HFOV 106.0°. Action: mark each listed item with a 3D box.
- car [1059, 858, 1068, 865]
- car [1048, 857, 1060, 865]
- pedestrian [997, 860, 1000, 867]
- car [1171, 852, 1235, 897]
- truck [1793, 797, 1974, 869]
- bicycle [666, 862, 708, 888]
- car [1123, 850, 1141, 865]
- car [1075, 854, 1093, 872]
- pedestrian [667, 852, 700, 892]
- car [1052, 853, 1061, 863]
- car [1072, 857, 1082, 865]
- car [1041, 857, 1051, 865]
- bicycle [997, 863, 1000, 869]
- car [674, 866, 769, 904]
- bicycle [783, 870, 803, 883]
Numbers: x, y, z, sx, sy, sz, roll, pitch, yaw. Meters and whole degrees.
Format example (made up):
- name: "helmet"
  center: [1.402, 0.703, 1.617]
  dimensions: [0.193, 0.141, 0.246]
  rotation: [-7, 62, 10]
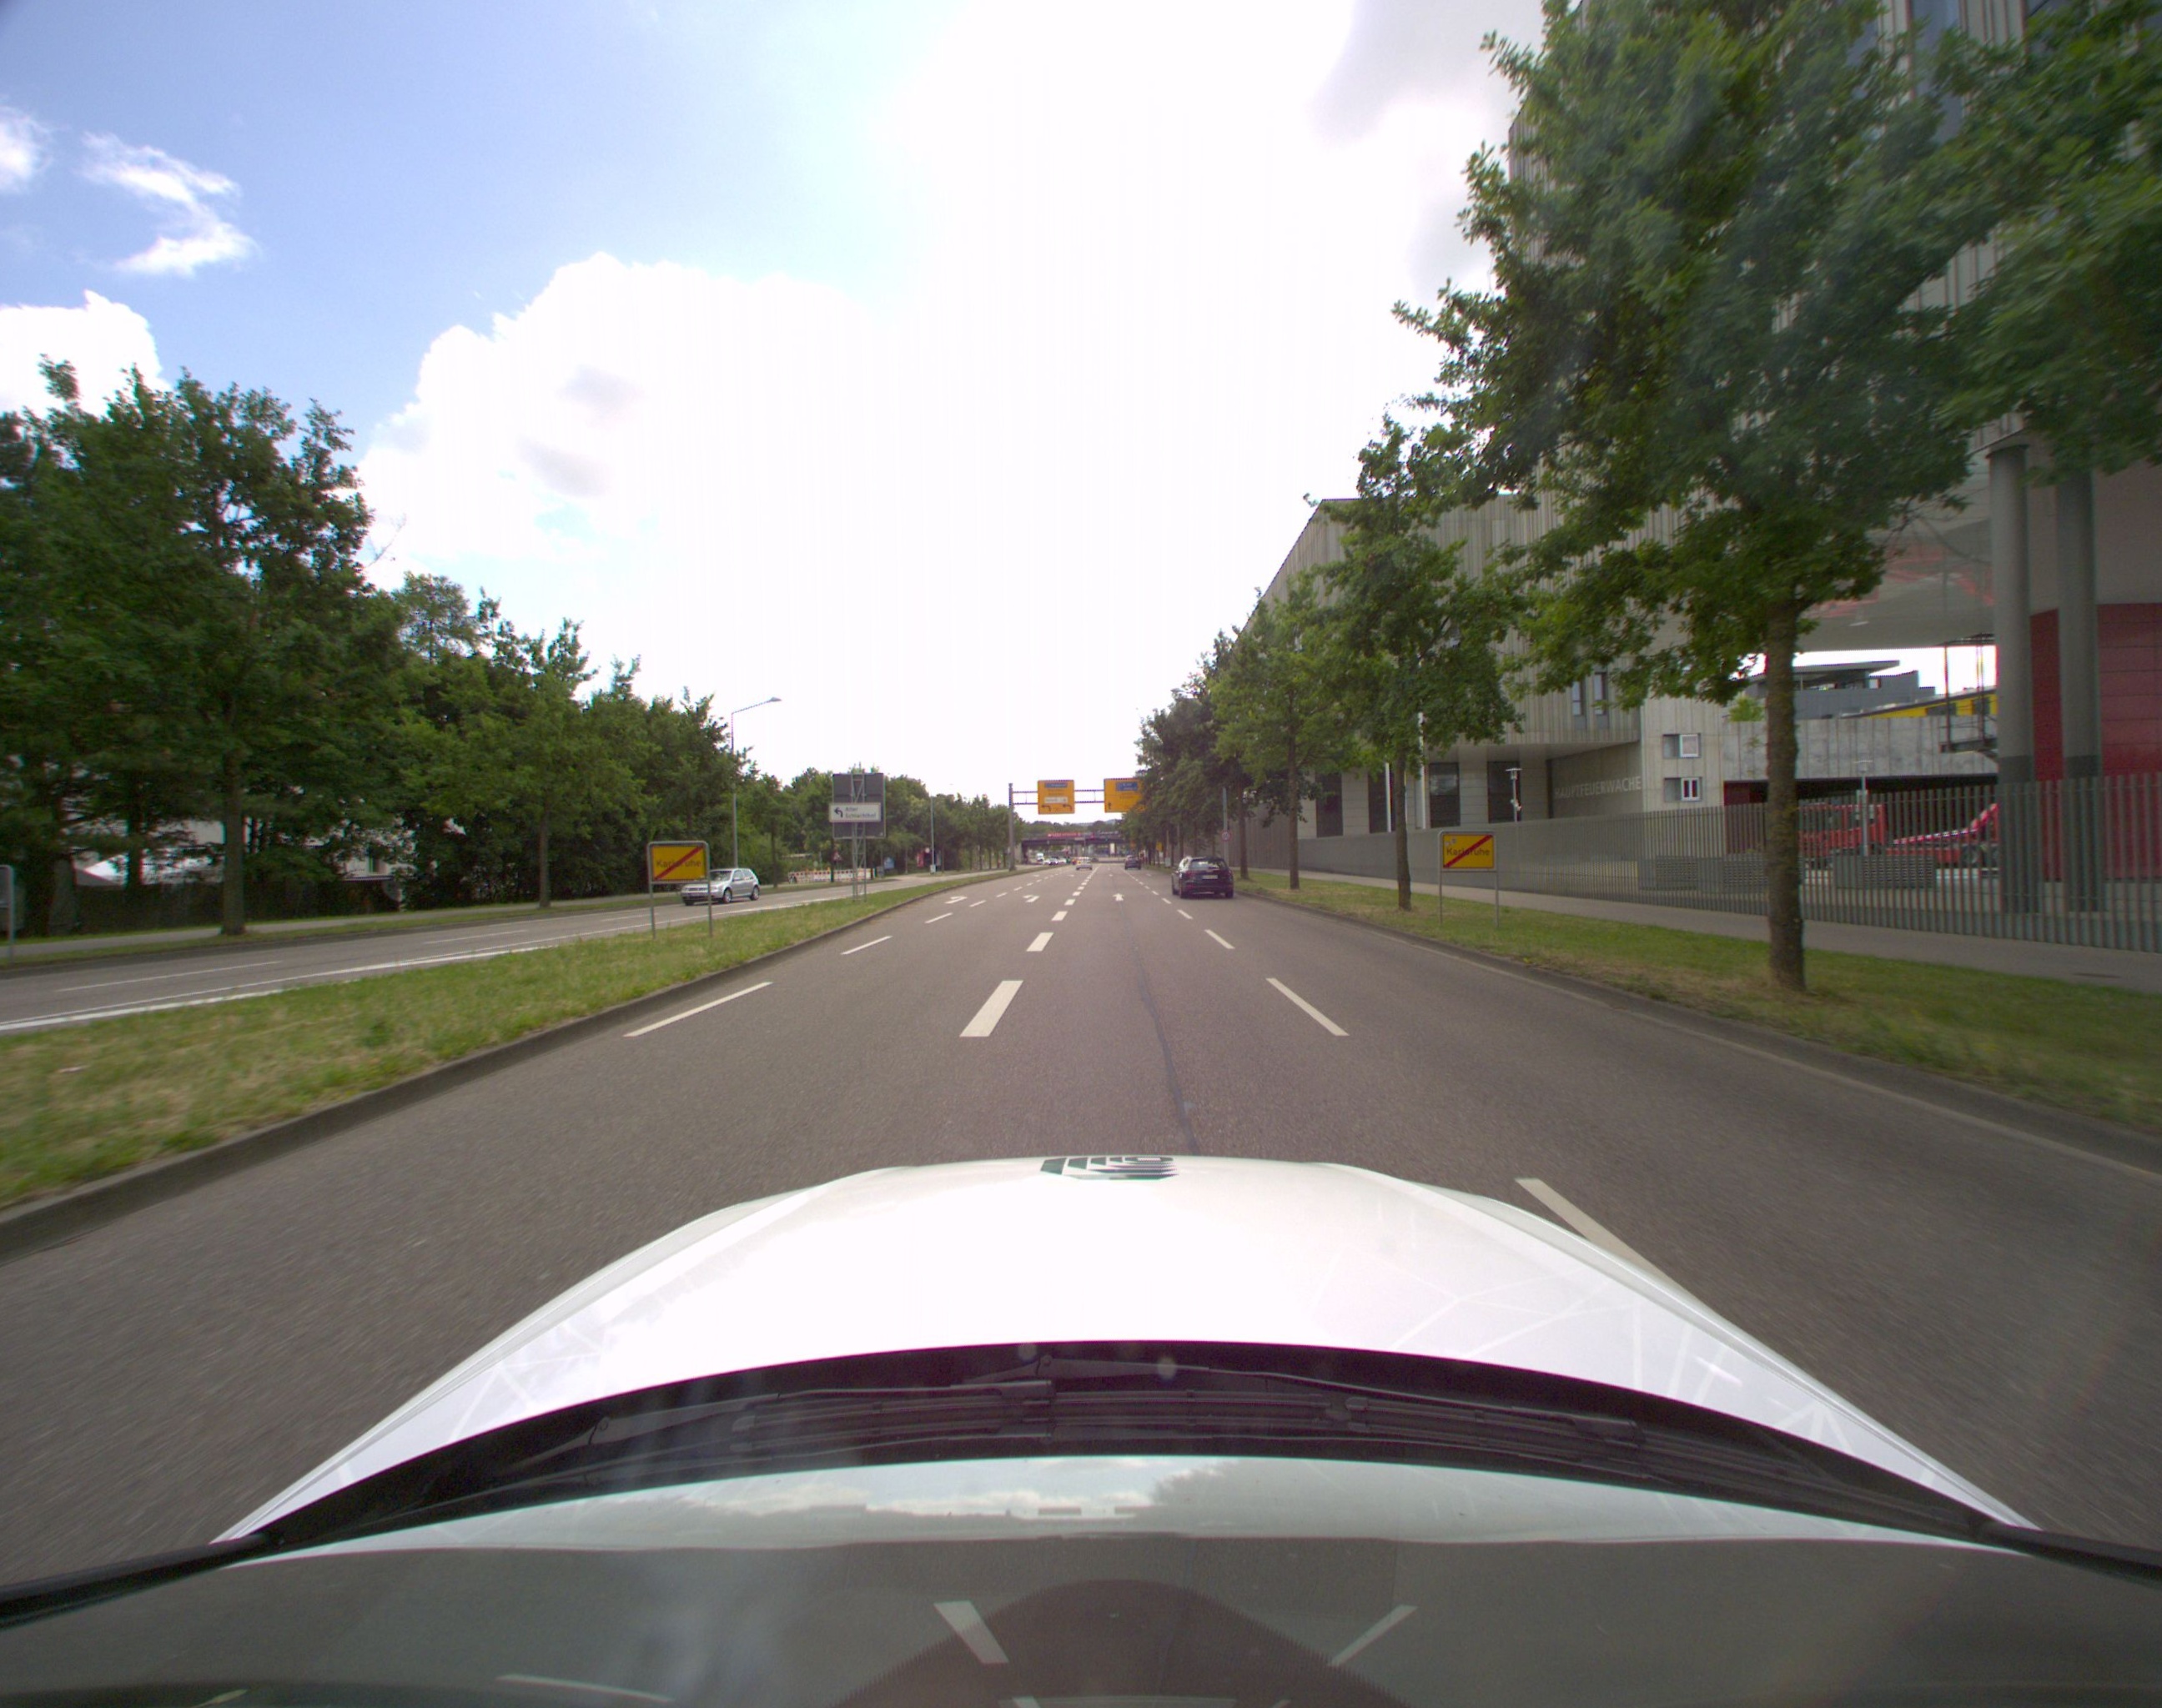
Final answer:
- name: "car"
  center: [-4.226, 1.878, 200.827]
  dimensions: [1.986, 1.717, 4.001]
  rotation: [0, -1, 2]
- name: "car"
  center: [-5.580, 1.442, 168.960]
  dimensions: [1.985, 1.618, 4.003]
  rotation: [-2, 0, 3]
- name: "pedestrian"
  center: [-17.578, 2.028, 174.354]
  dimensions: [0.556, 1.400, 0.563]
  rotation: [0, -2, 0]
- name: "car"
  center: [4.175, 0.685, 28.356]
  dimensions: [1.678, 1.463, 4.000]
  rotation: [0, 0, 1]
- name: "truck"
  center: [35.223, -0.871, 35.870]
  dimensions: [5.674, 3.069, 2.318]
  rotation: [0, -1, -1]
- name: "bicycle"
  center: [-20.329, 1.075, 42.082]
  dimensions: [0.804, 1.226, 2.503]
  rotation: [-2, 0, 2]
- name: "car"
  center: [6.007, 0.425, 95.379]
  dimensions: [1.985, 1.626, 4.314]
  rotation: [-2, 1, 4]
- name: "car"
  center: [0.330, 1.007, 93.997]
  dimensions: [1.988, 2.014, 3.998]
  rotation: [0, 0, -1]
- name: "pedestrian"
  center: [-20.376, 0.913, 41.802]
  dimensions: [0.966, 2.013, 1.250]
  rotation: [-2, 0, 2]
- name: "car"
  center: [-6.676, 1.145, 220.985]
  dimensions: [1.984, 2.640, 5.242]
  rotation: [0, -1, 4]
- name: "car"
  center: [-0.766, 1.328, 156.703]
  dimensions: [1.769, 1.463, 3.998]
  rotation: [0, 0, -1]
- name: "car"
  center: [-7.971, 1.647, 184.196]
  dimensions: [1.987, 1.783, 4.000]
  rotation: [0, -1, 1]
- name: "bicycle"
  center: [-17.583, 2.573, 174.407]
  dimensions: [0.458, 1.090, 1.474]
  rotation: [0, -1, 1]
- name: "car"
  center: [-14.748, 1.234, 33.657]
  dimensions: [1.632, 1.329, 4.387]
  rotation: [-2, 0, 5]
- name: "bicycle"
  center: [-23.515, 1.829, 66.471]
  dimensions: [0.888, 1.059, 2.337]
  rotation: [-1, -1, -38]
